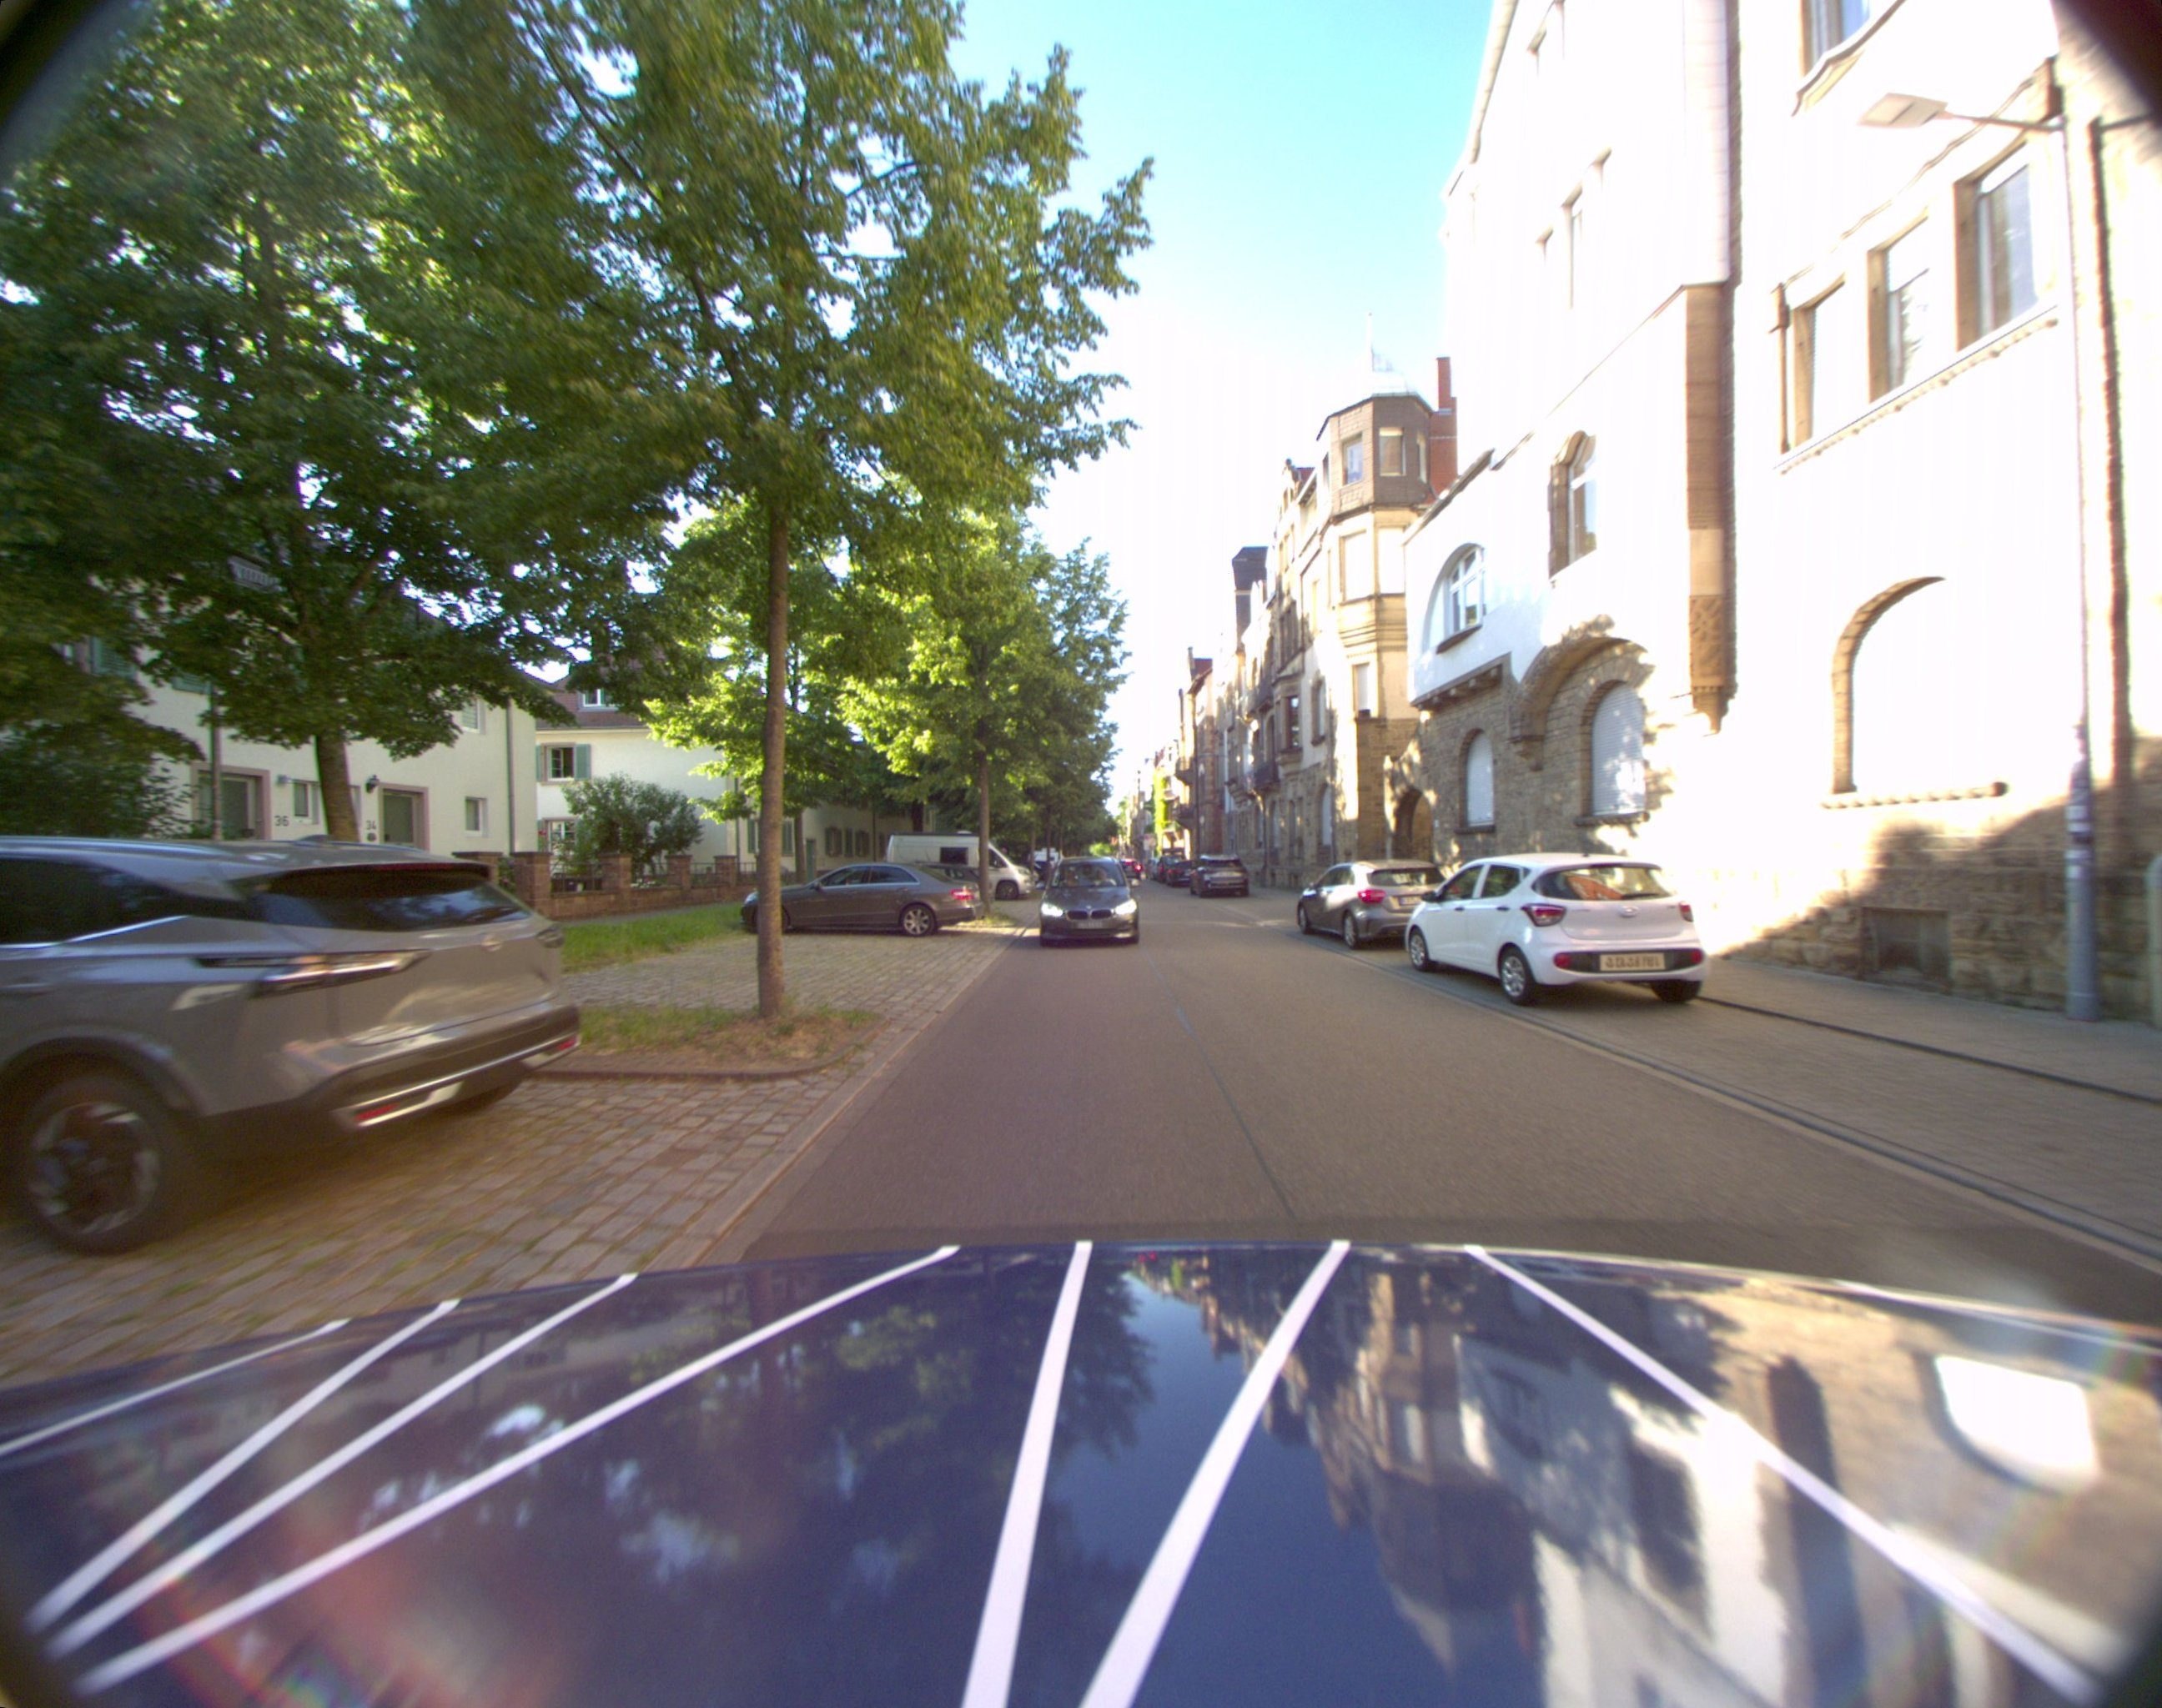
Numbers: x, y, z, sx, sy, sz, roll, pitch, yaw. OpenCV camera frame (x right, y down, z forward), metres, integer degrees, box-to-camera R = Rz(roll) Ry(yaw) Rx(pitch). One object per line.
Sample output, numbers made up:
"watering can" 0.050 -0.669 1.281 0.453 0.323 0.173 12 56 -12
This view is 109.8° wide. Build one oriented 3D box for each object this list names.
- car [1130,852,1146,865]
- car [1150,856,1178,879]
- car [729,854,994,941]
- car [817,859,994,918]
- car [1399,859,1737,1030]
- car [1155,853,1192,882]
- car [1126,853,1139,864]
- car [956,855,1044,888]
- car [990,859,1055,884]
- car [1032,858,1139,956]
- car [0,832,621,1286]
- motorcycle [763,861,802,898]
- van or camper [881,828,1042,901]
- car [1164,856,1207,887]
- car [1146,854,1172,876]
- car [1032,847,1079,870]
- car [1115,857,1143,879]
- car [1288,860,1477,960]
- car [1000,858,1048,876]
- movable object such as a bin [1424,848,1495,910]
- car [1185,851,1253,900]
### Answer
"car" 6.869 0.564 92.149 1.686 1.496 3.629 -5 -1 2
"car" 5.838 0.935 53.718 1.633 1.439 3.856 -5 -1 2
"car" -4.338 0.843 15.594 4.850 1.530 1.894 2 0 -1
"car" -4.815 0.921 21.338 4.486 1.427 1.828 2 0 1
"car" 5.058 0.813 8.518 1.570 1.461 3.592 -2 0 3
"car" 5.825 0.811 48.237 1.774 1.658 4.212 -2 1 1
"car" 7.859 0.675 116.527 1.710 1.496 3.629 -5 -1 2
"car" -4.345 0.922 41.352 4.606 1.706 2.000 1 0 -1
"car" -3.716 1.086 48.604 3.997 1.543 1.555 0 0 1
"car" 0.135 0.922 15.183 1.753 1.596 4.551 -2 0 2
"car" -5.116 0.729 3.763 4.487 1.624 1.875 2 0 0
"motorcycle" -11.949 1.000 30.478 0.660 1.398 2.016 -3 1 1
"van or camper" -4.453 0.375 29.016 5.733 2.502 2.162 2 0 0
"car" 5.688 0.906 41.688 1.774 1.493 4.211 -1 1 1
"car" 6.050 0.868 59.081 1.633 1.496 3.856 -5 -1 2
"car" -2.964 0.516 89.705 5.448 2.646 2.134 0 0 1
"car" 3.296 0.967 52.855 1.631 1.469 3.759 0 0 -1
"car" 5.156 0.871 13.631 1.681 1.434 4.111 -3 0 0
"car" -4.770 1.109 64.090 3.998 1.503 1.572 0 0 -3
"movable object such as a bin" 9.691 0.620 19.484 1.196 1.470 1.174 -3 1 1
"car" 5.323 0.792 29.798 1.881 1.707 4.340 -2 0 1
